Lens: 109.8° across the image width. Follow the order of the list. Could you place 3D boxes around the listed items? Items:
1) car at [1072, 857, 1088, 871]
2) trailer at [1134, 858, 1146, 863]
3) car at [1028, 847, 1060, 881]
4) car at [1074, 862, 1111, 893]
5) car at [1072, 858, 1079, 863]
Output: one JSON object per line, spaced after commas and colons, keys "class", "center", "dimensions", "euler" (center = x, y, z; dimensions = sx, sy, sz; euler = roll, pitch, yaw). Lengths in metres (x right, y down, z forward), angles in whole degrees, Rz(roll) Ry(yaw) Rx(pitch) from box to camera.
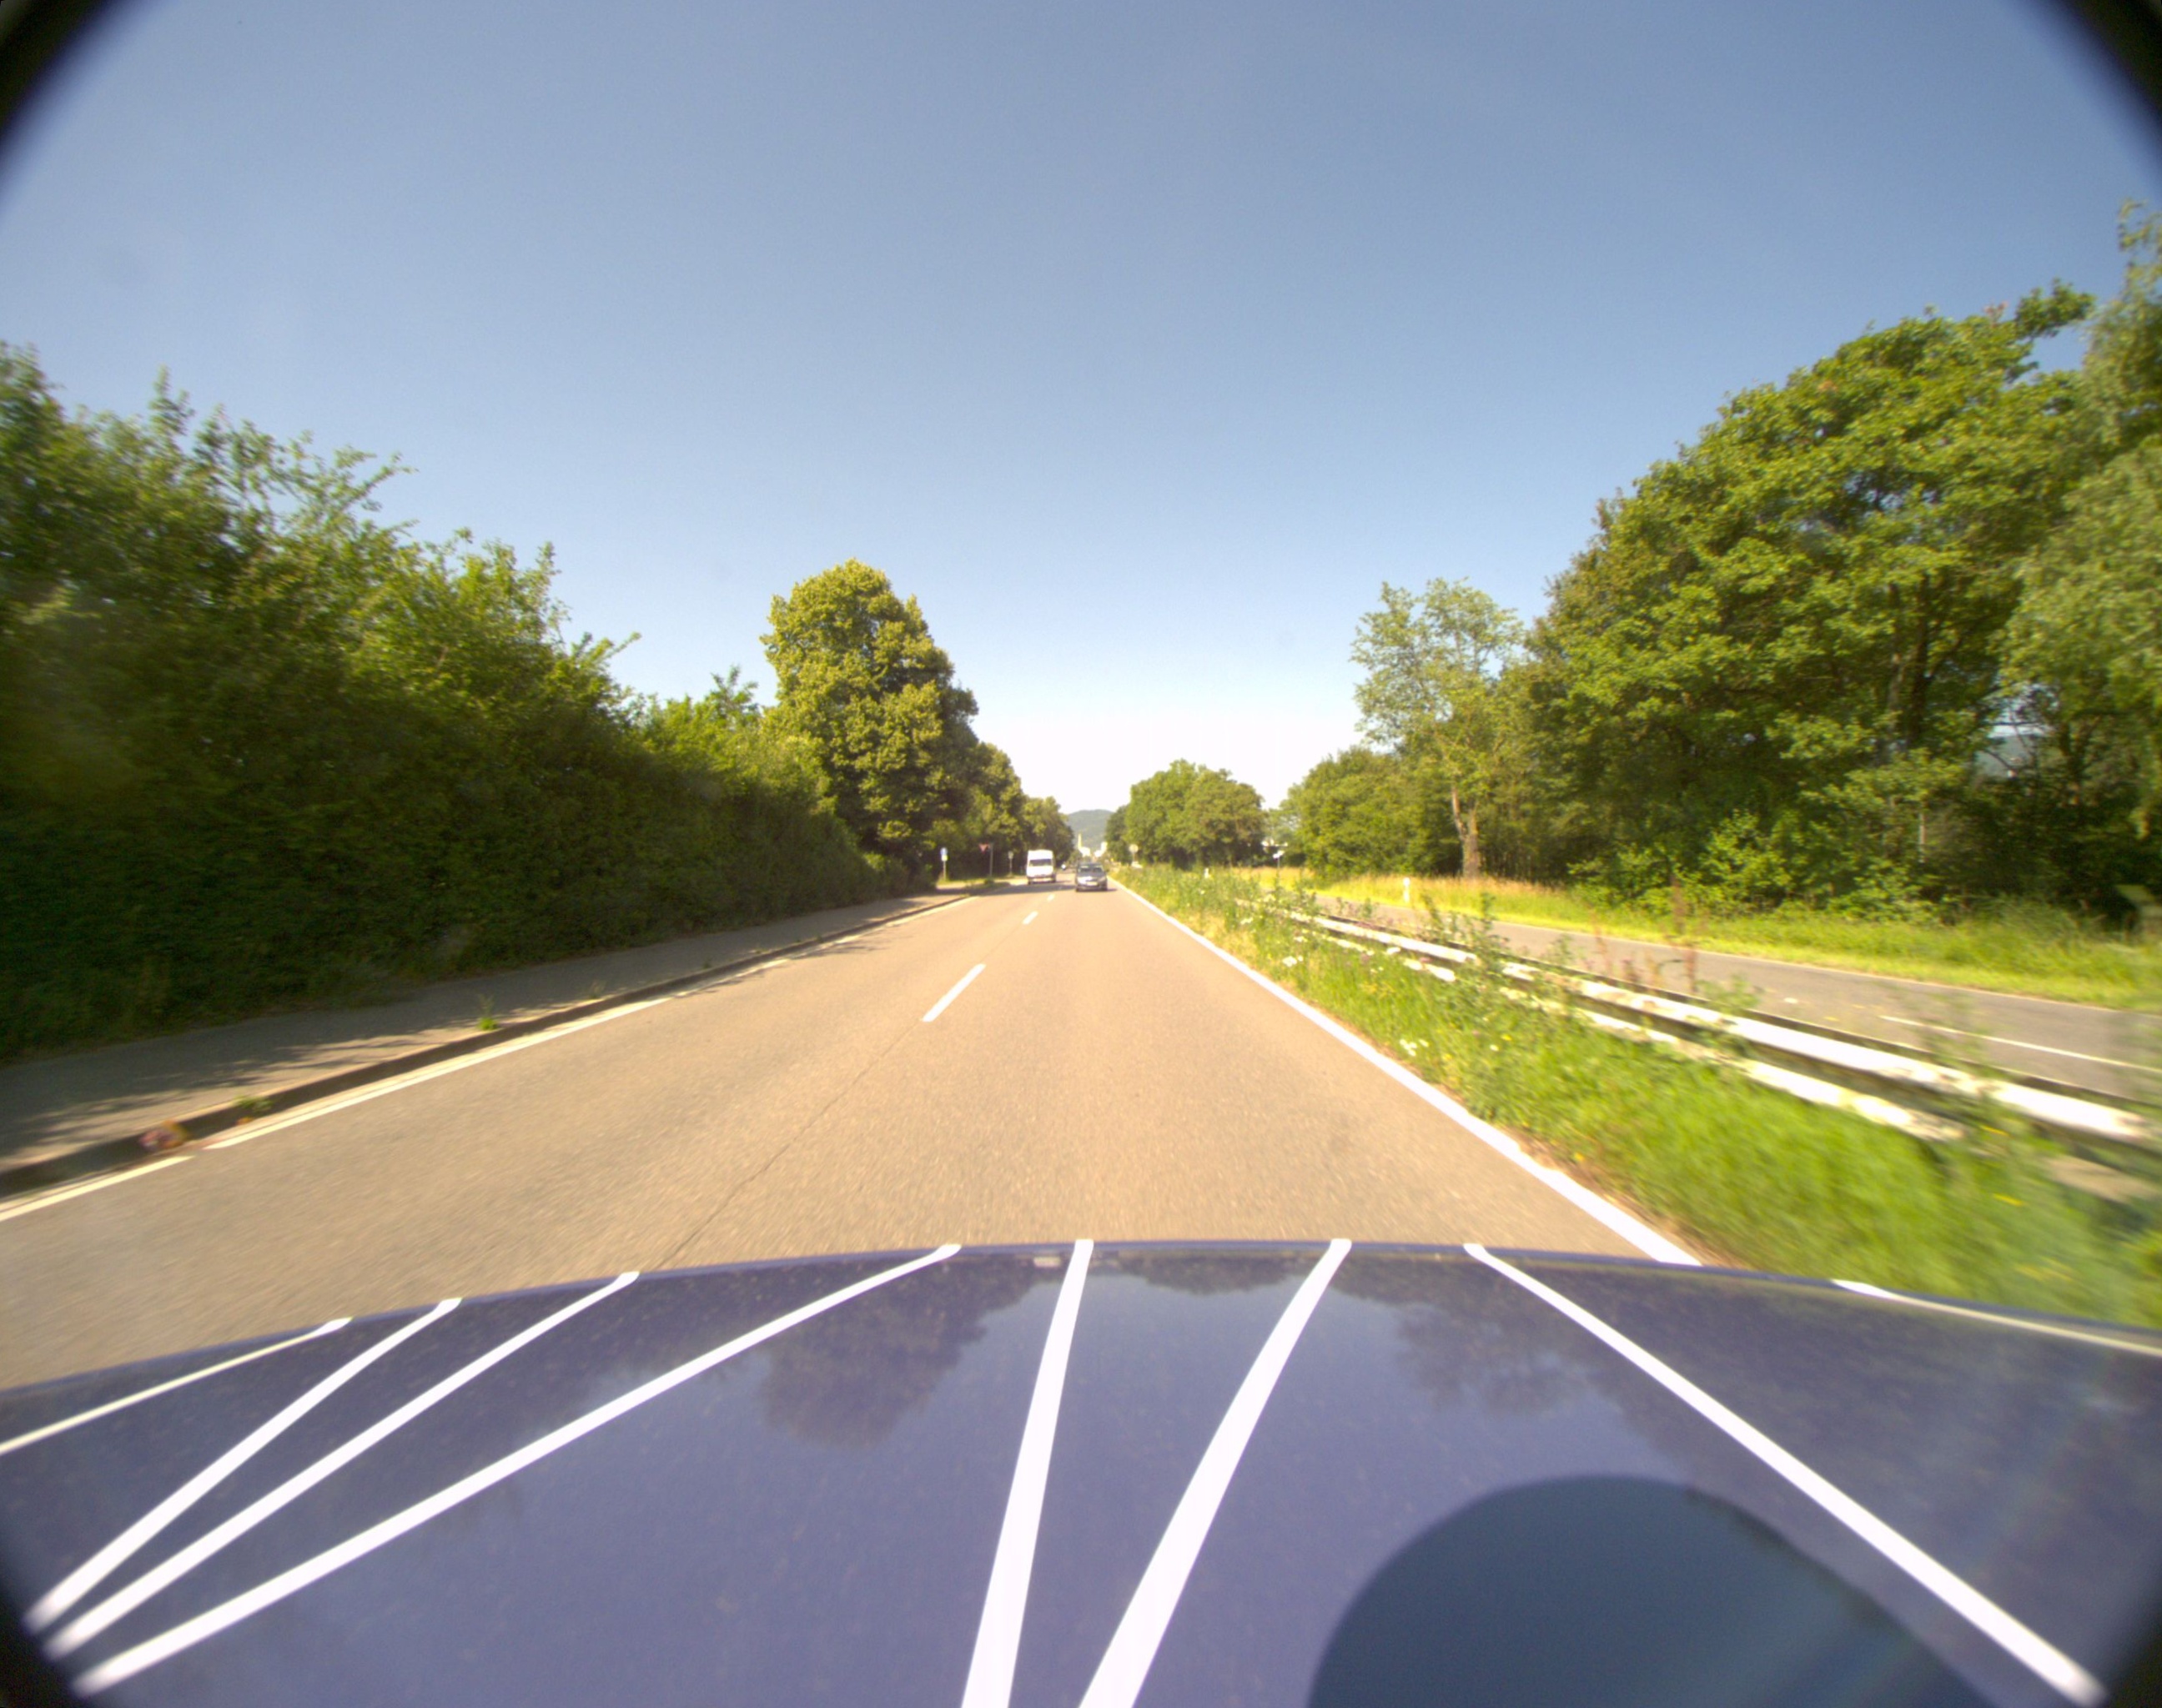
{"class": "car", "center": [-0.076, 1.101, 83.785], "dimensions": [1.678, 1.435, 3.622], "euler": [-2, 1, 1]}
{"class": "trailer", "center": [11.666, 1.349, 151.090], "dimensions": [1.969, 0.955, 5.598], "euler": [-1, 0, 1]}
{"class": "car", "center": [-2.760, 0.716, 57.583], "dimensions": [1.998, 2.432, 5.088], "euler": [-2, 1, 1]}
{"class": "car", "center": [0.591, 1.136, 37.825], "dimensions": [1.678, 1.434, 4.362], "euler": [-2, -1, 1]}
{"class": "car", "center": [-1.537, 1.774, 207.879], "dimensions": [1.825, 1.591, 4.000], "euler": [0, 0, 1]}
